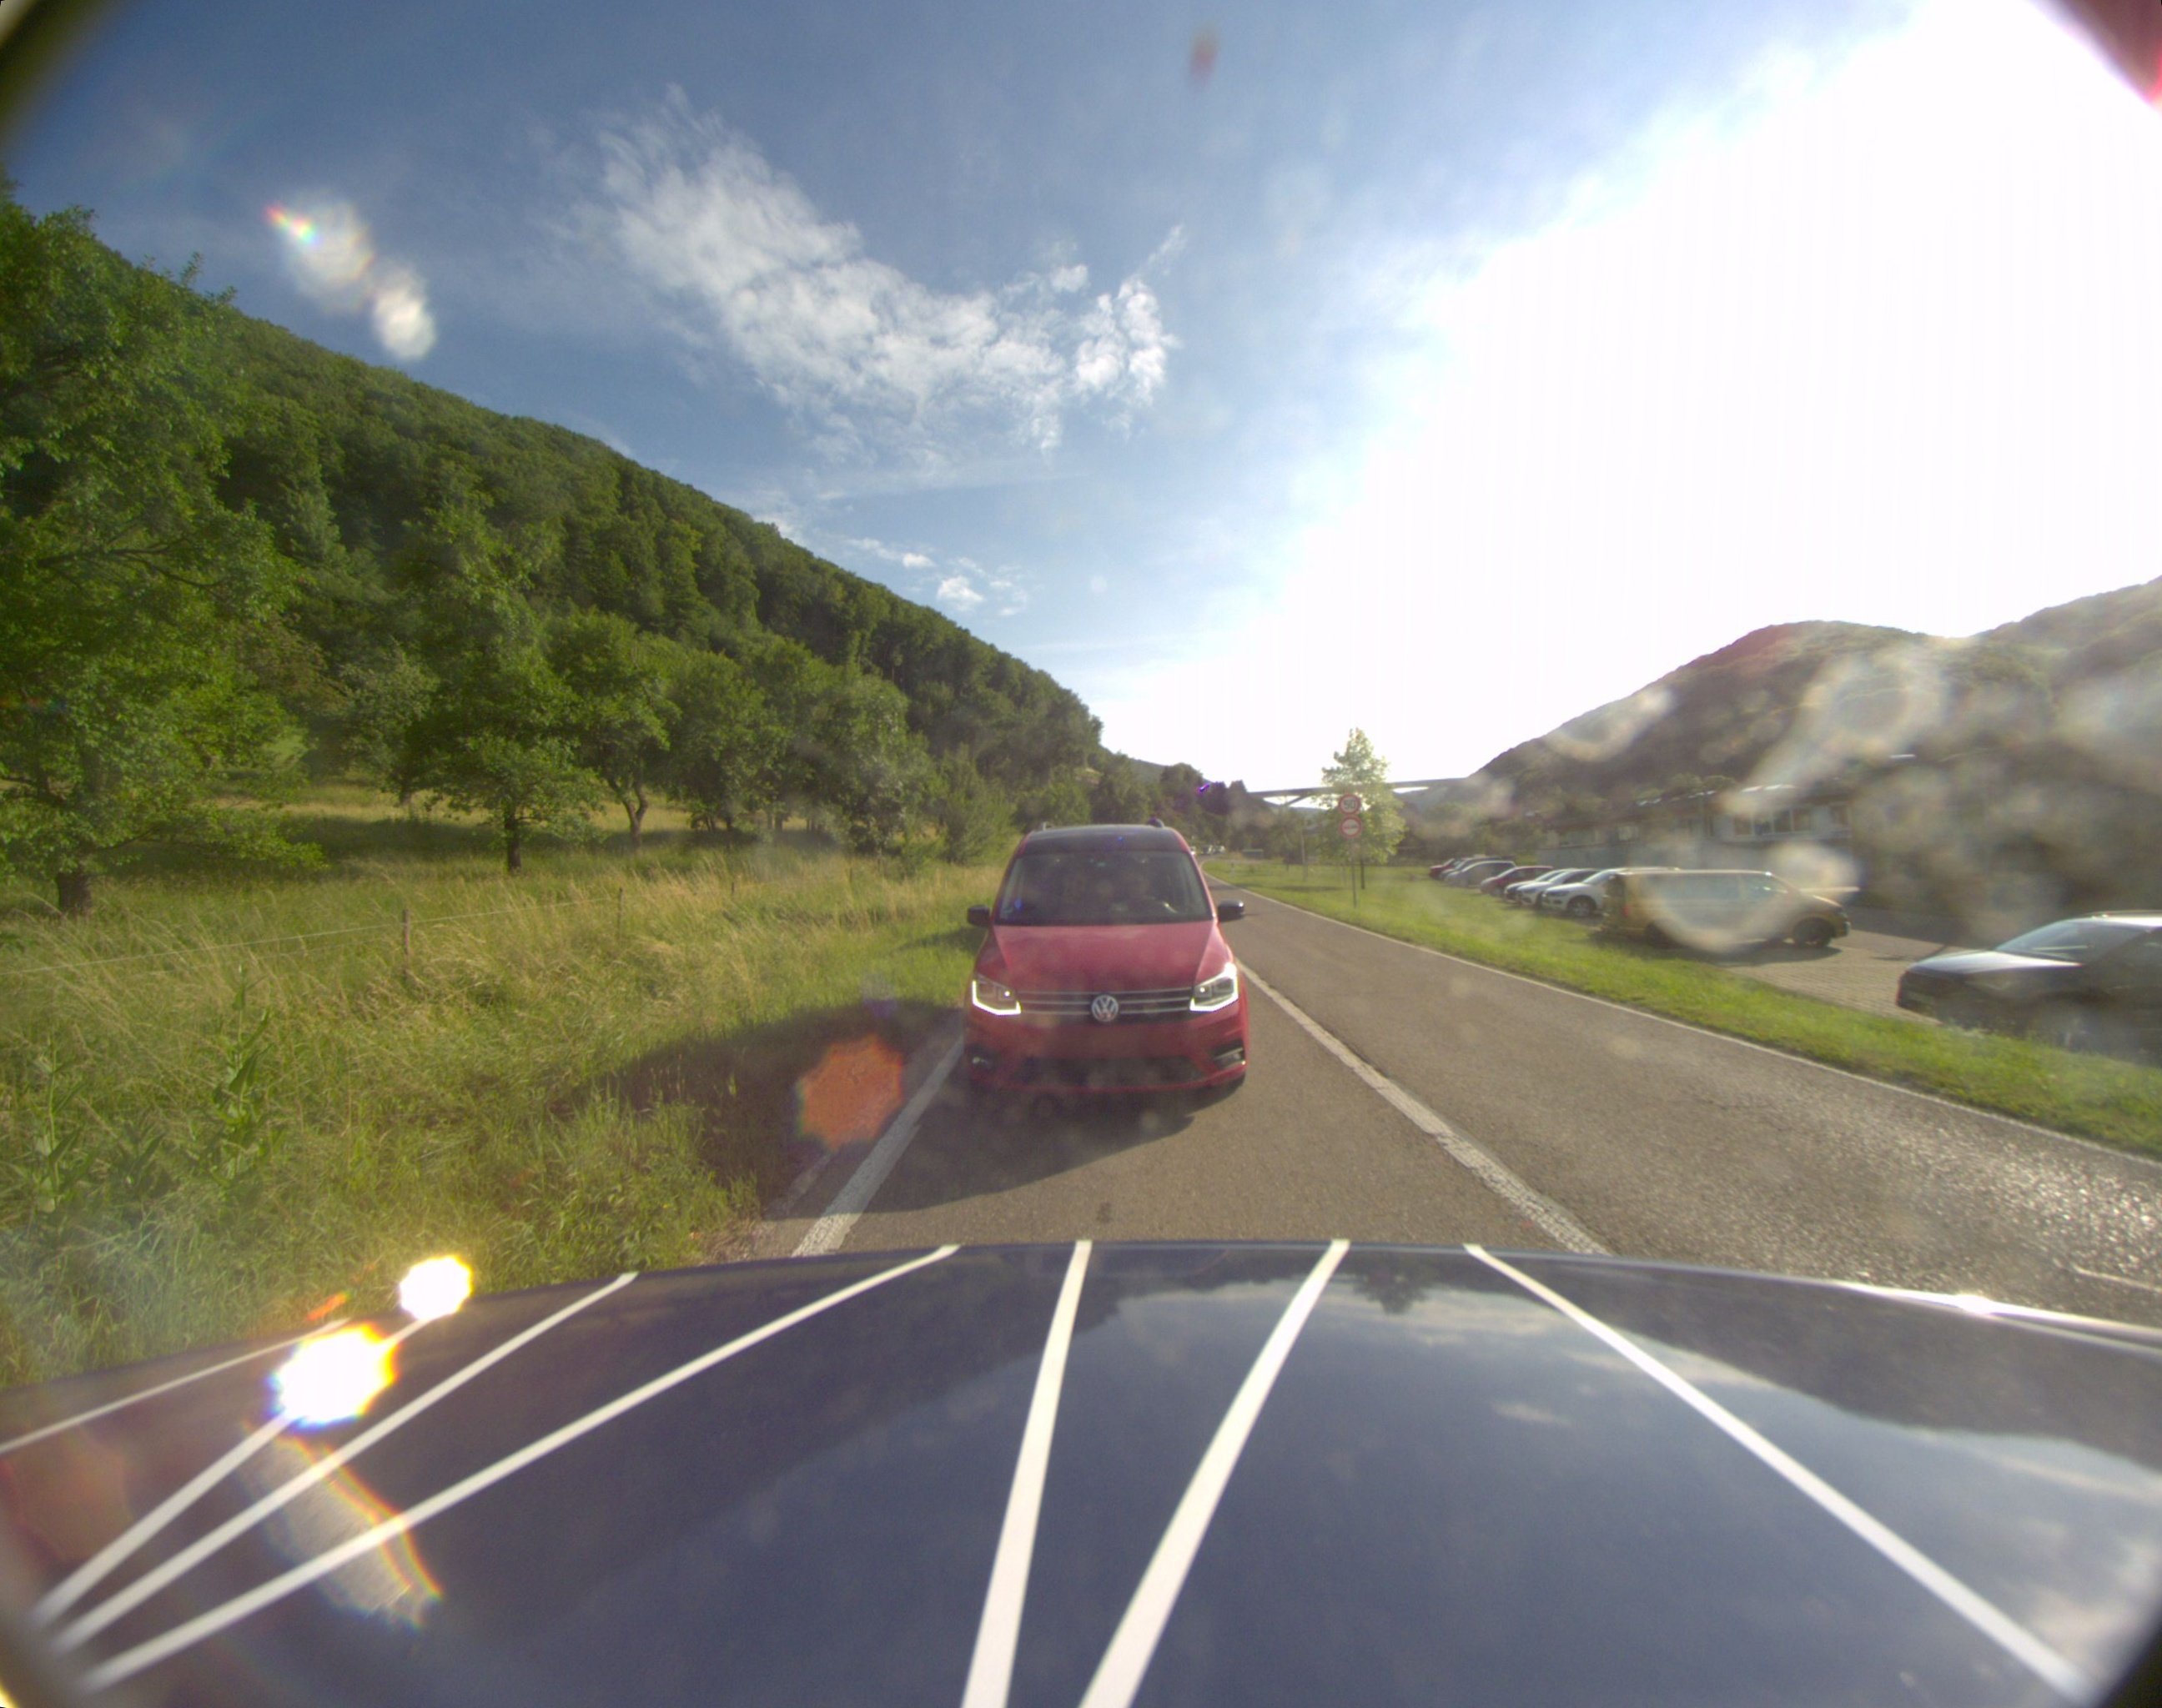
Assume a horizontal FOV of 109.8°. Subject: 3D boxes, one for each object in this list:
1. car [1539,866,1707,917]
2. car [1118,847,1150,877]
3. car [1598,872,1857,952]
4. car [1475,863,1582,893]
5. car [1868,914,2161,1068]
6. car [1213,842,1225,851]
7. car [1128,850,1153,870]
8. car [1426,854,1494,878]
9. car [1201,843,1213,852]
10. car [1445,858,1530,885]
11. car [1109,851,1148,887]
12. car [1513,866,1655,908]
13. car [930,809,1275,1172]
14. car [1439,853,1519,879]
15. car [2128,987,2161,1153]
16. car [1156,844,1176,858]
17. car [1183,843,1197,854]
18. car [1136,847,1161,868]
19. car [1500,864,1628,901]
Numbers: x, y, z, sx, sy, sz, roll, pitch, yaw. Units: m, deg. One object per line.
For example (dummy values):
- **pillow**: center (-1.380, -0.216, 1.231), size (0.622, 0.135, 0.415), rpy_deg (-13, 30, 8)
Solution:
- **car**: center (19.348, 1.314, 27.382), size (4.545, 1.691, 2.003), rpy_deg (-1, 0, 20)
- **car**: center (3.391, 0.494, 48.073), size (1.901, 1.717, 4.002), rpy_deg (-2, 0, 5)
- **car**: center (16.299, 1.411, 19.502), size (4.653, 1.802, 2.003), rpy_deg (-1, 0, 20)
- **car**: center (22.728, 1.232, 38.809), size (4.437, 1.443, 2.003), rpy_deg (-1, 0, 20)
- **car**: center (13.554, 1.699, 9.817), size (4.289, 1.628, 1.915), rpy_deg (-3, 0, 15)
- **car**: center (28.822, -1.494, 158.326), size (1.996, 1.707, 4.005), rpy_deg (-2, 0, 17)
- **car**: center (4.741, 0.453, 59.963), size (1.798, 1.464, 4.285), rpy_deg (-2, 0, 7)
- **car**: center (28.921, 0.914, 58.090), size (4.437, 1.709, 2.003), rpy_deg (-1, 0, 18)
- **car**: center (23.802, -1.247, 143.216), size (1.676, 1.637, 3.350), rpy_deg (-2, 0, 18)
- **car**: center (25.832, 1.095, 48.456), size (4.437, 1.573, 2.003), rpy_deg (-2, 0, 18)
- **car**: center (2.249, 0.670, 35.425), size (1.692, 1.539, 4.001), rpy_deg (-2, 0, 4)
- **car**: center (20.223, 1.310, 30.780), size (4.437, 1.577, 2.003), rpy_deg (-1, 0, 20)
- **car**: center (0.141, 0.731, 6.150), size (1.747, 1.849, 4.348), rpy_deg (-2, 0, 1)
- **car**: center (27.631, 0.827, 52.916), size (4.665, 1.752, 2.003), rpy_deg (-1, 0, 18)
- **car**: center (12.072, 1.996, 5.786), size (4.645, 1.488, 1.915), rpy_deg (-1, 0, 15)
- **car**: center (10.338, -0.361, 92.451), size (1.911, 1.675, 4.004), rpy_deg (-2, -1, 13)
- **car**: center (17.481, -0.843, 121.381), size (1.797, 1.725, 4.288), rpy_deg (-2, 0, 14)
- **car**: center (6.415, 0.327, 72.198), size (1.997, 1.838, 4.003), rpy_deg (-2, 0, 10)
- **car**: center (21.434, 1.256, 33.934), size (4.437, 1.573, 2.003), rpy_deg (-1, 0, 18)
